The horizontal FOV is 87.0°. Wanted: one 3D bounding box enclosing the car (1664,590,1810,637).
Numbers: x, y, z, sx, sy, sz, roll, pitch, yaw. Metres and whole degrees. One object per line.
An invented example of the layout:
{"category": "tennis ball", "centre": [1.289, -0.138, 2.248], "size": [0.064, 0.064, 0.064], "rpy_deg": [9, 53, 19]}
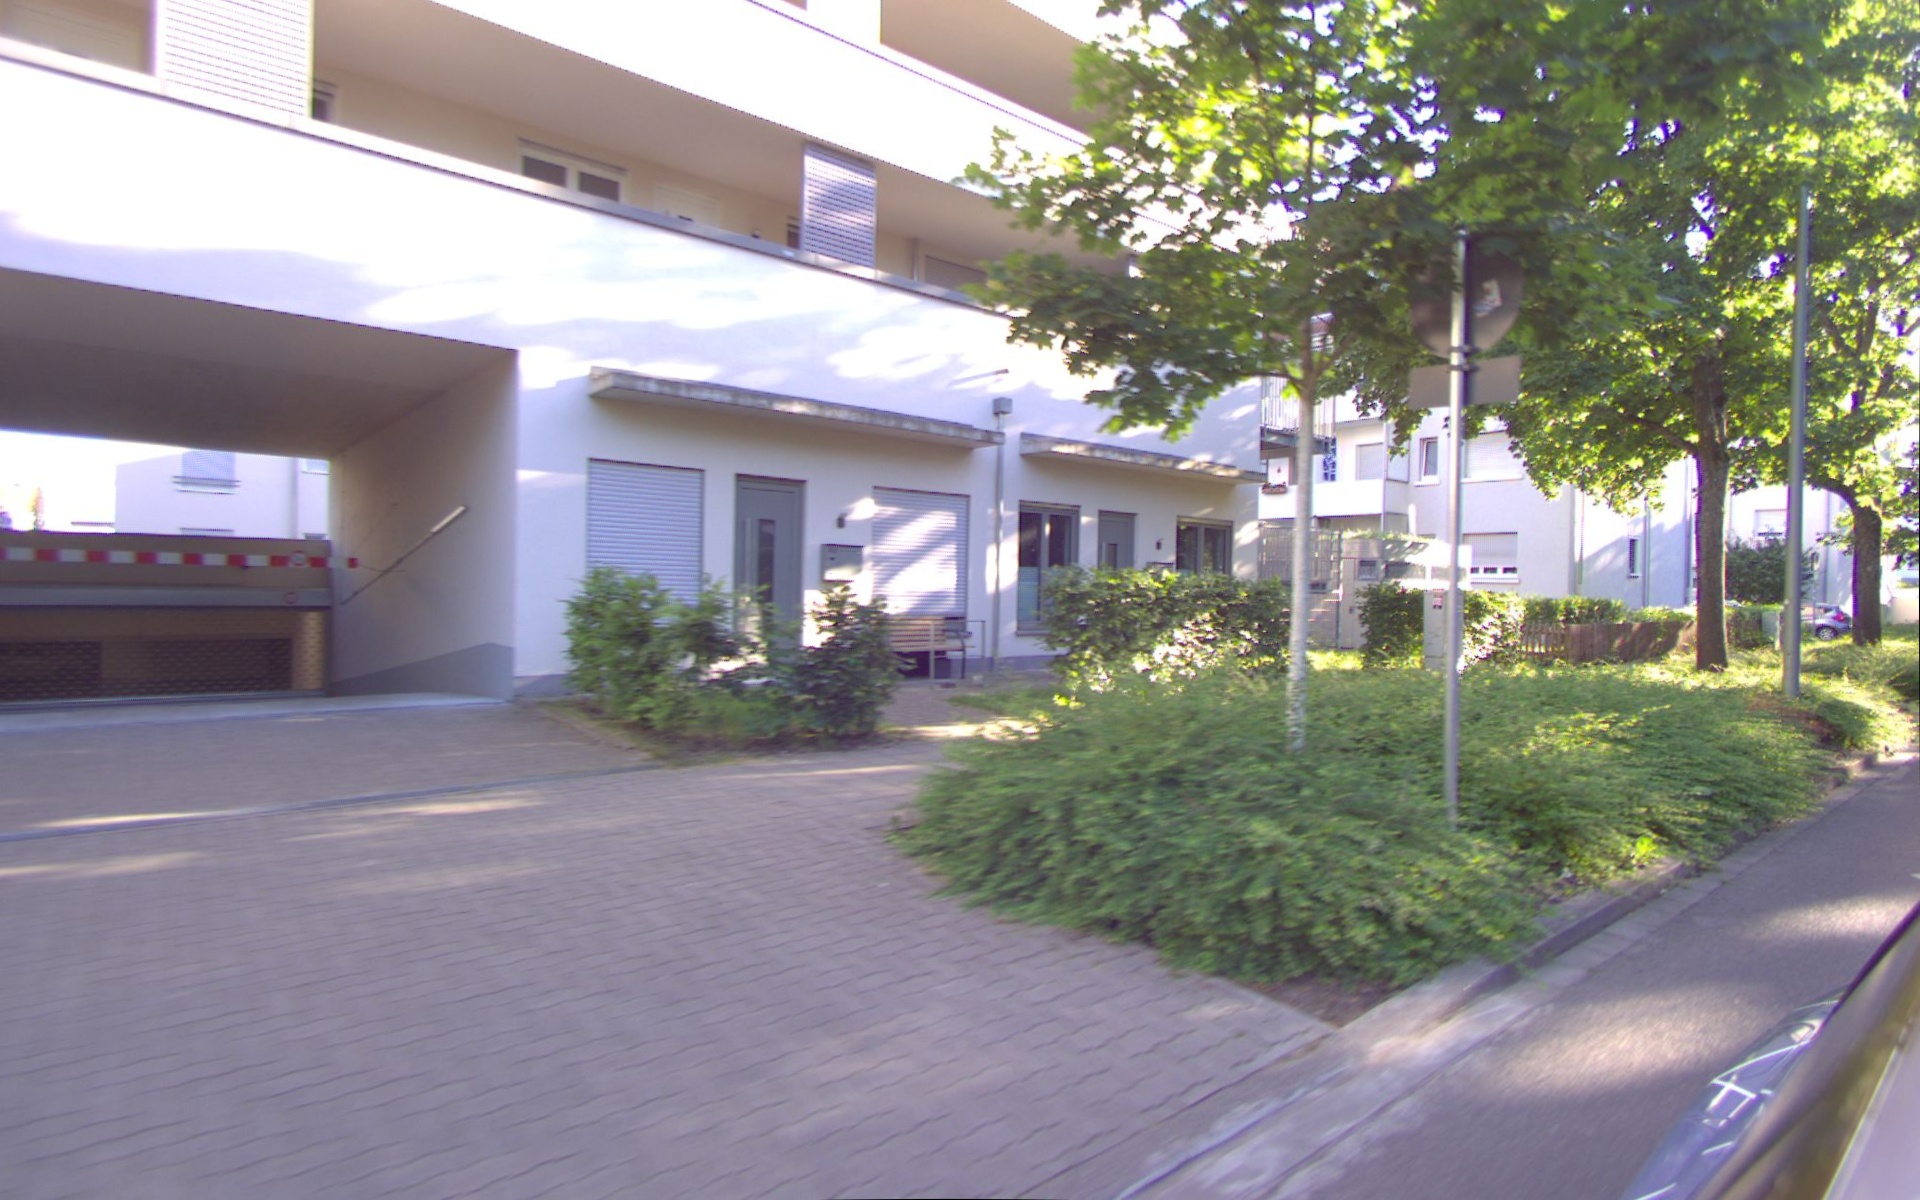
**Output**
{"category": "car", "centre": [28.733, 0.476, 37.498], "size": [1.777, 1.601, 3.995], "rpy_deg": [2, 0, -40]}

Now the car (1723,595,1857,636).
{"category": "car", "centre": [34.397, 0.603, 42.016], "size": [1.696, 1.533, 4.050], "rpy_deg": [-1, 1, -39]}

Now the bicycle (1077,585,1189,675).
{"category": "bicycle", "centre": [2.482, 0.400, 14.419], "size": [1.722, 1.206, 0.619], "rpy_deg": [0, 0, -41]}
